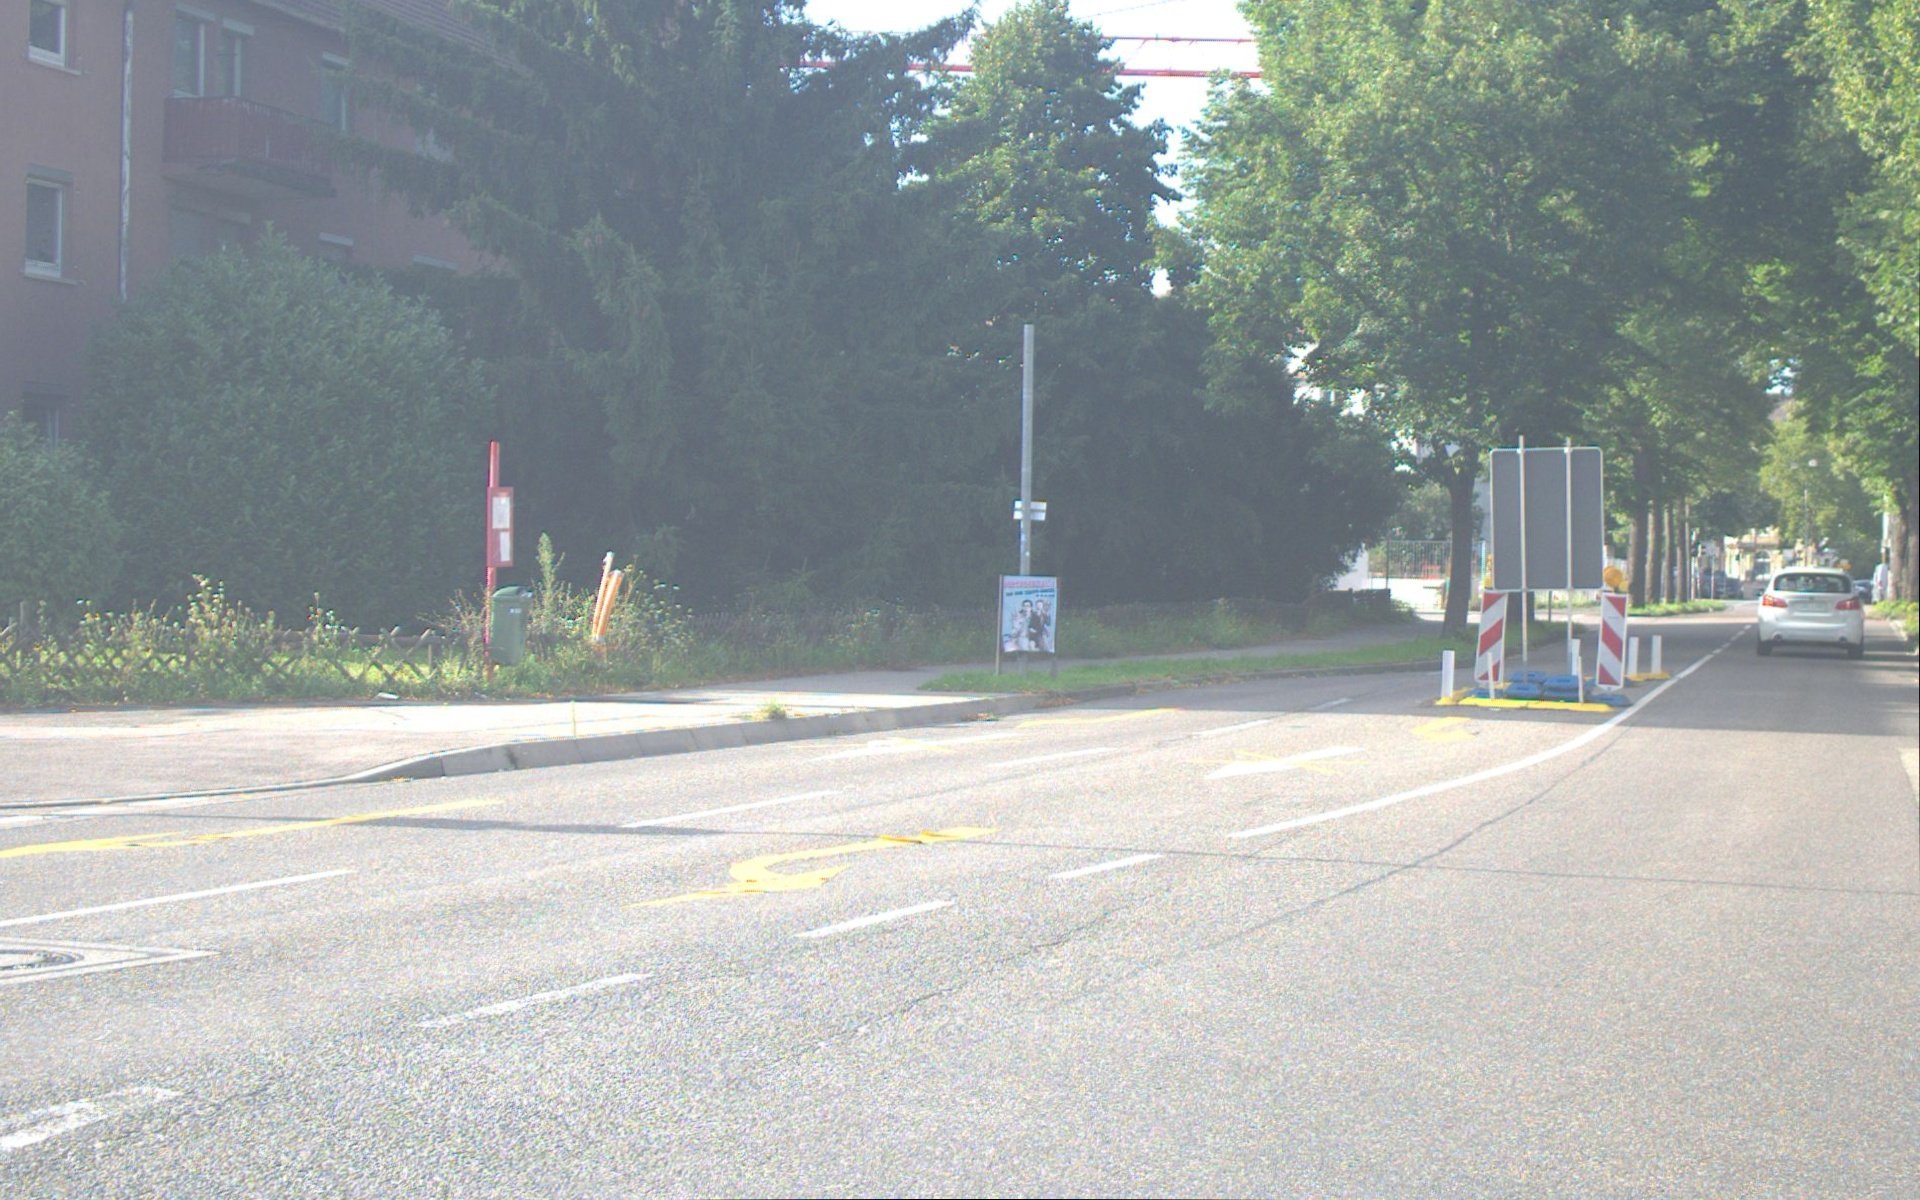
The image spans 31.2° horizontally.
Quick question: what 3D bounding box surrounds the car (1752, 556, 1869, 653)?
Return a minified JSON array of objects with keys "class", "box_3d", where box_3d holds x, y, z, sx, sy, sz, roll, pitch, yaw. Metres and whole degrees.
[{"class":"car","box_3d":[14.860,0.071,60.192,1.851,1.567,4.452,2,1,13]}]
